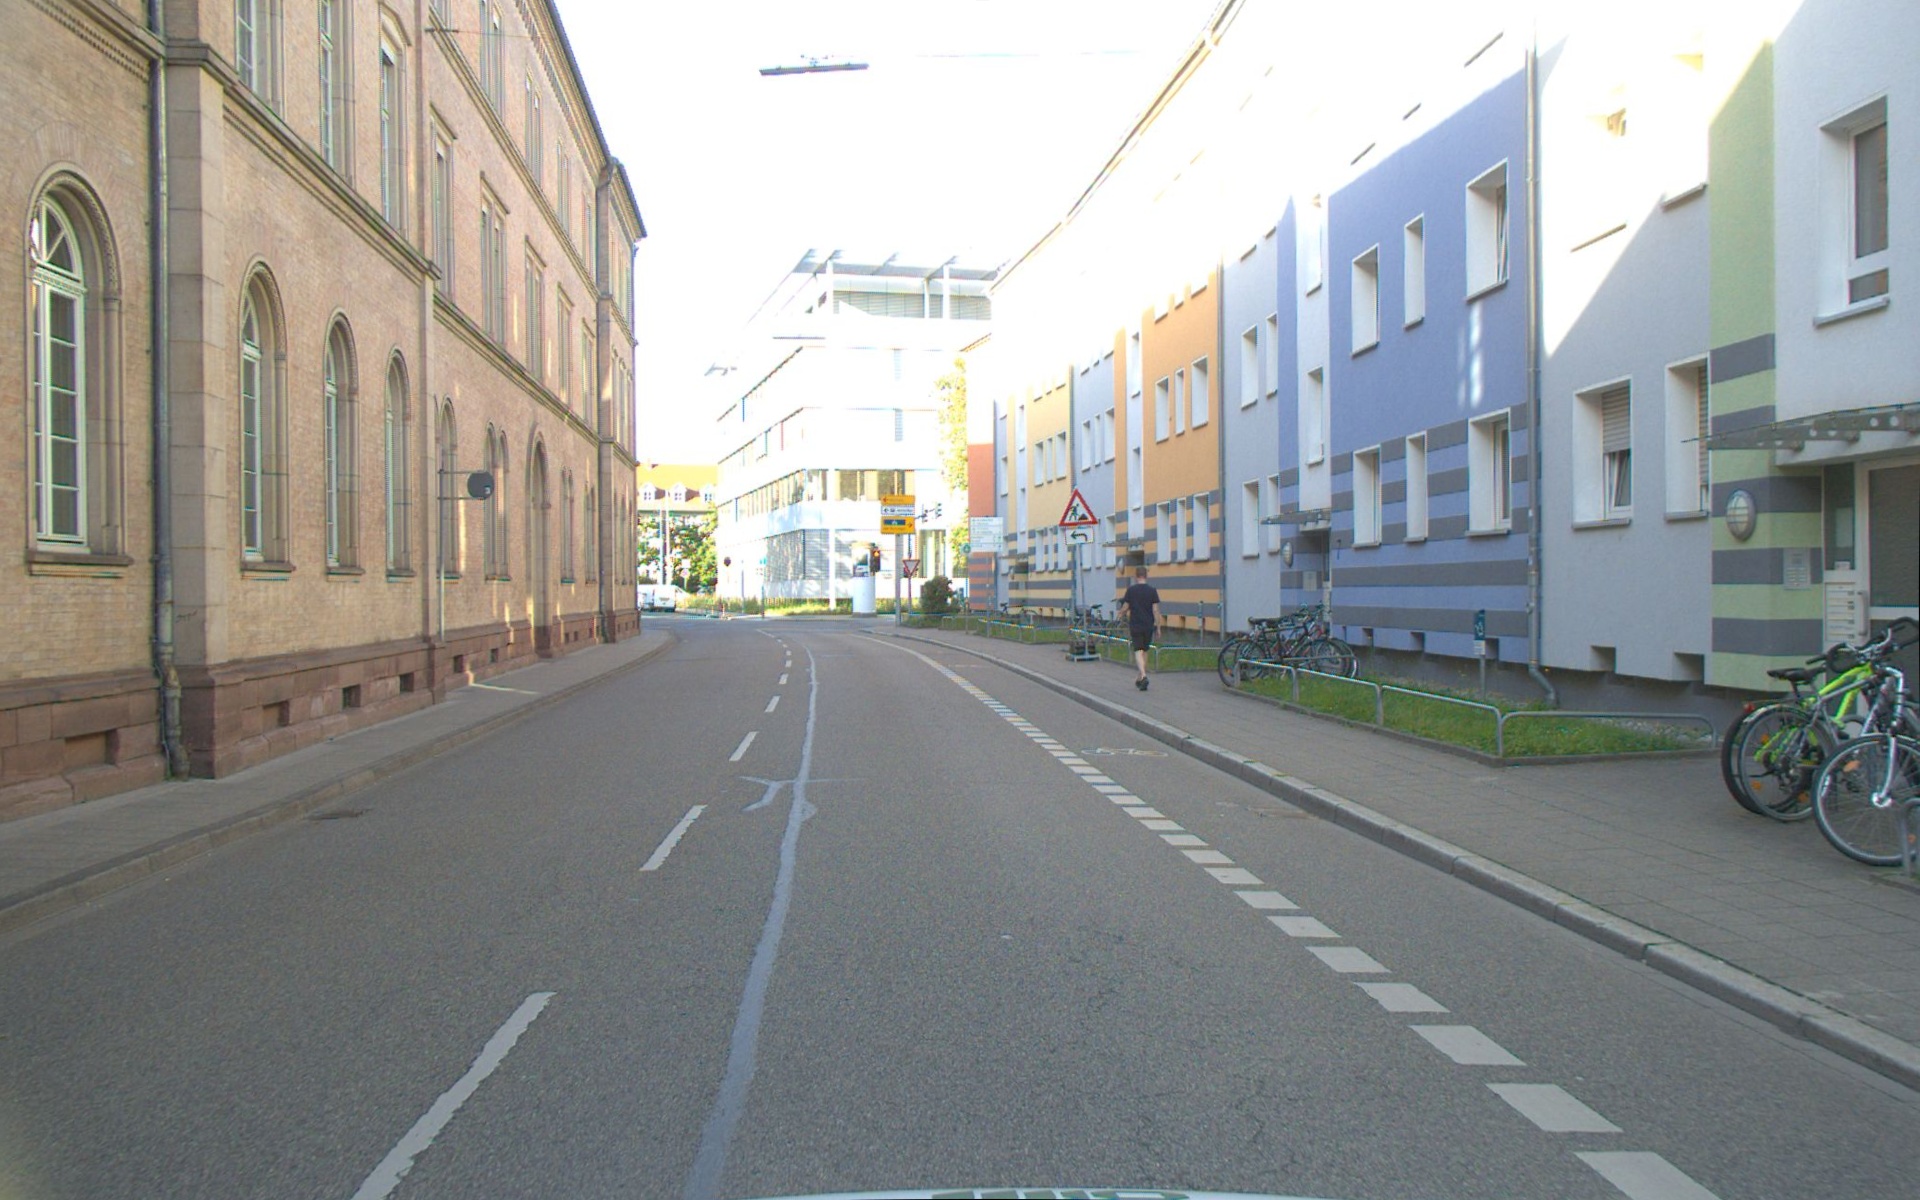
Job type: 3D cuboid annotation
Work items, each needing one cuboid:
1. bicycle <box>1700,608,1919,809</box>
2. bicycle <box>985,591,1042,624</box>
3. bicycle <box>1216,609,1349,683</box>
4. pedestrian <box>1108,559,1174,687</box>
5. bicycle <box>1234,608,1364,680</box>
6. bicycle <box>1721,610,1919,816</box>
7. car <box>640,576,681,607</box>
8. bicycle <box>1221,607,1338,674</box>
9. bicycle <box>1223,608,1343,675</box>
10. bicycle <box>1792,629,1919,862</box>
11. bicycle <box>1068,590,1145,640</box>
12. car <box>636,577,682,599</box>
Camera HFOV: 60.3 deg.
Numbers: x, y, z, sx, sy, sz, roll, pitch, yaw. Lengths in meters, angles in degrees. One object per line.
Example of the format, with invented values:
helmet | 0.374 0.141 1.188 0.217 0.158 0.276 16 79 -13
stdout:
bicycle | 5.594 0.689 10.737 1.575 1.161 0.236 -4 1 -13
bicycle | 1.733 0.238 53.686 1.721 1.021 0.612 -2 0 -10
bicycle | 4.459 0.636 22.927 1.714 0.963 0.551 -1 0 -5
pedestrian | 2.644 0.321 24.265 0.683 1.790 1.188 -3 1 -4
bicycle | 4.830 0.616 23.587 1.714 0.963 0.551 -1 0 -5
bicycle | 5.634 0.691 10.463 1.613 1.161 0.282 -4 1 -13
car | -21.878 -0.636 120.574 2.385 2.149 5.207 2 0 -16
bicycle | 4.858 0.609 25.186 1.714 0.963 0.335 -1 0 -5
bicycle | 4.828 0.616 24.735 1.714 0.963 0.325 -1 0 -4
bicycle | 5.552 0.739 9.048 1.714 1.161 0.551 -4 1 -5
bicycle | 3.507 0.357 39.656 1.775 1.157 0.551 -1 0 -6
car | -28.637 -1.154 157.528 3.941 1.949 1.903 2 -1 -28
